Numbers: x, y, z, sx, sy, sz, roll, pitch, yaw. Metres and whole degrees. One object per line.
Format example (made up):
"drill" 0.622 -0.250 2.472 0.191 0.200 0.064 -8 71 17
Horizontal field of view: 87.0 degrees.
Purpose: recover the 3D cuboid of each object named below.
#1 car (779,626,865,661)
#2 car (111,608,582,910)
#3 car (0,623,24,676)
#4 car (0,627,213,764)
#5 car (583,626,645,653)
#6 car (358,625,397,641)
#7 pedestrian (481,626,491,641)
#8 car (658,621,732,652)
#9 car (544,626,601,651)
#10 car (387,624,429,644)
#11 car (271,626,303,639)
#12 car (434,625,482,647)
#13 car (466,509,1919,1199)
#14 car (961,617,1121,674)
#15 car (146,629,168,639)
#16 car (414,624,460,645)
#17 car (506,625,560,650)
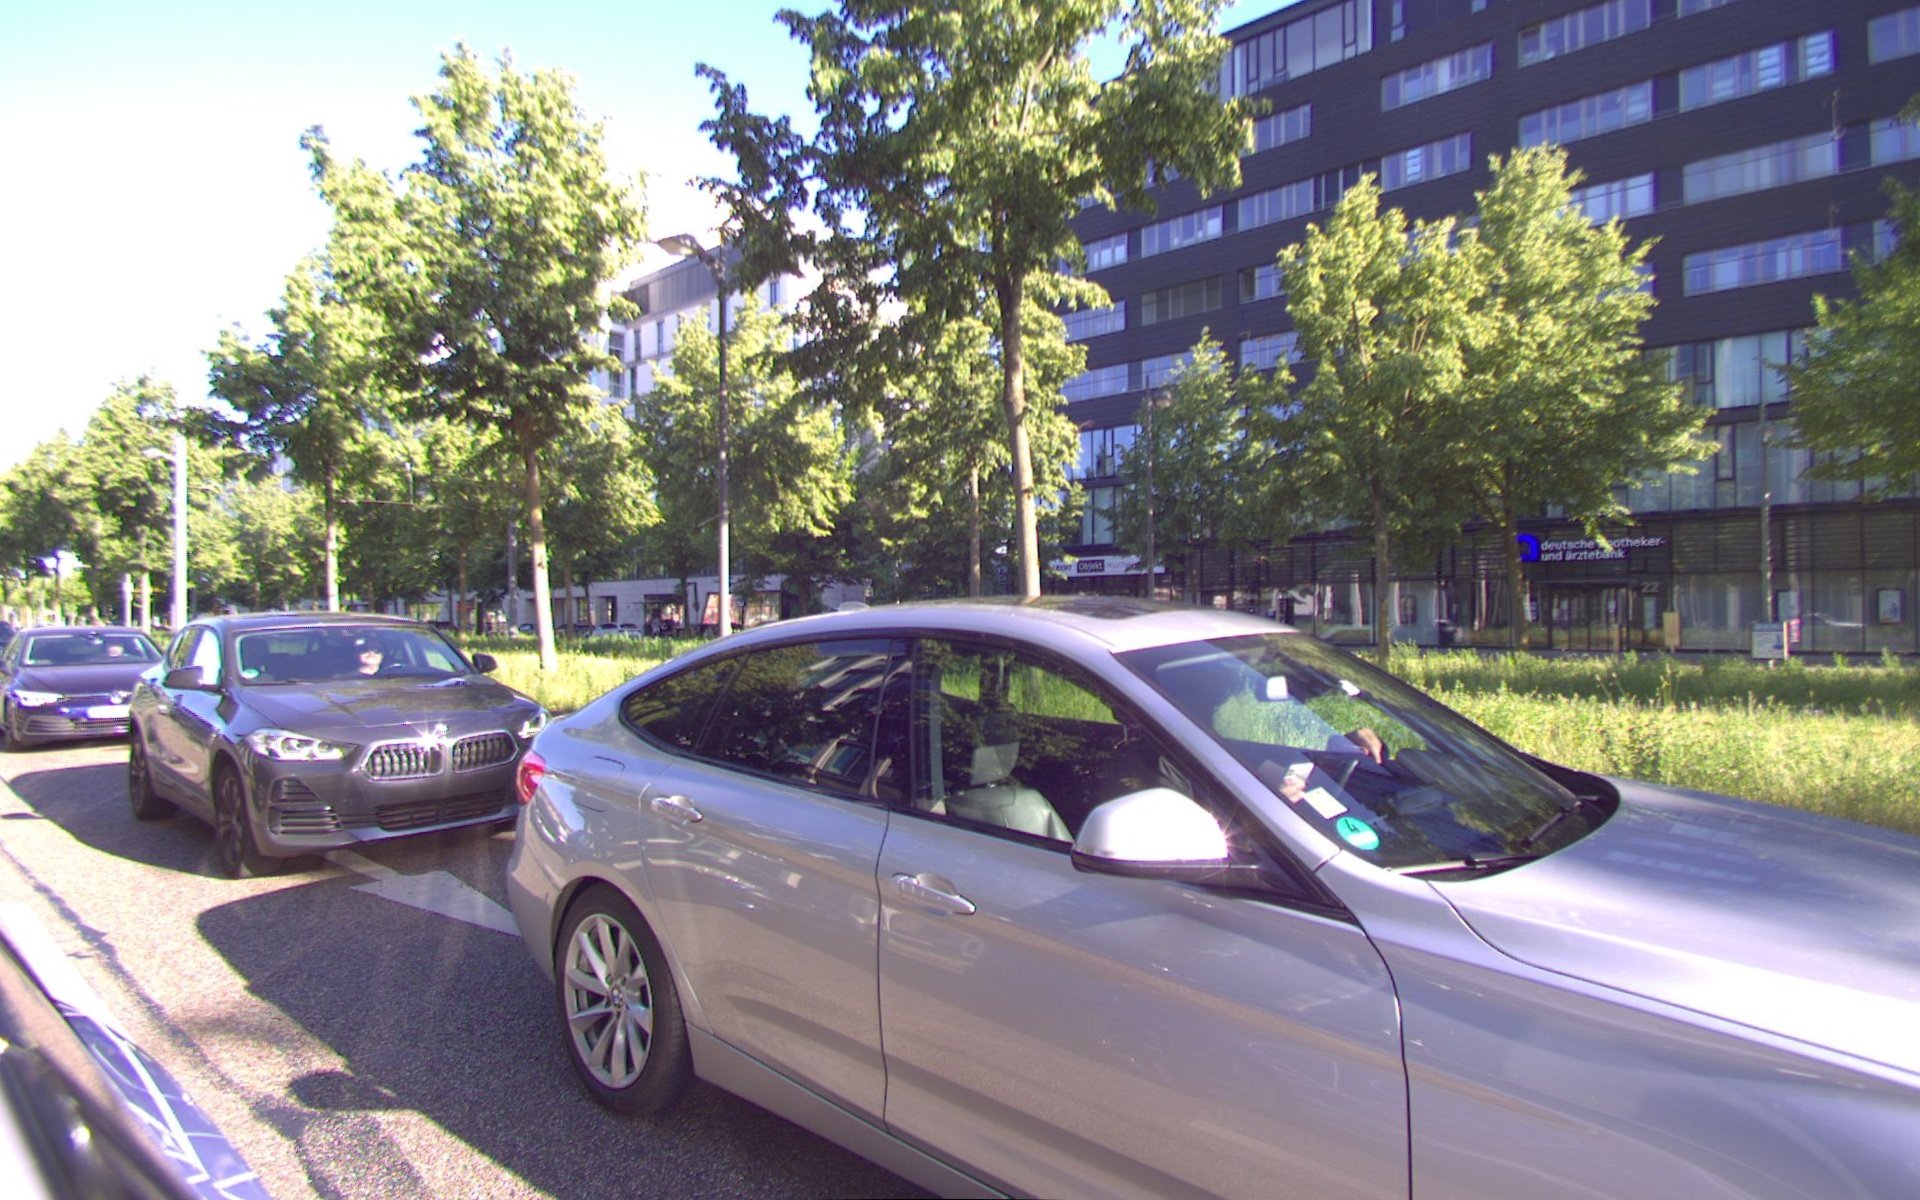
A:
"car" -6.767 2.076 49.387 4.182 1.609 1.926 -2 -1 41
"car" -4.458 0.832 7.087 4.000 1.502 1.836 -2 -1 43
"car" -31.042 1.549 31.964 4.344 1.598 1.854 -1 -1 43
"car" -11.197 1.075 12.949 4.344 1.434 1.854 -1 -1 43
"car" -21.620 2.467 63.181 4.182 1.609 1.859 -2 -1 41
"car" -51.376 2.918 89.292 4.001 1.406 1.971 -2 -2 44
"pedestrian" -42.294 2.986 90.368 0.660 1.349 0.597 -2 -1 41
"car" -14.550 1.962 55.440 4.182 1.609 1.926 -2 -1 41
"car" -25.700 2.527 67.054 4.182 1.609 1.859 -2 -1 41
"car" -46.587 2.855 85.376 4.182 1.609 1.859 -2 -1 41
"car" -72.532 3.504 109.062 3.998 1.406 1.972 -2 -2 41
"car" -38.670 2.739 77.973 4.182 1.609 1.859 -2 -1 41
"car" 0.662 0.679 2.578 4.558 1.495 1.800 -1 -1 40
"car" 2.359 1.312 30.274 4.567 1.494 1.780 -1 2 42
"car" -114.626 4.822 144.495 4.001 1.406 1.971 -2 -2 44
"car" -42.132 2.785 81.479 4.182 1.609 1.859 -2 -1 41
"car" -29.729 2.592 70.466 4.182 1.609 1.859 -2 -1 41
